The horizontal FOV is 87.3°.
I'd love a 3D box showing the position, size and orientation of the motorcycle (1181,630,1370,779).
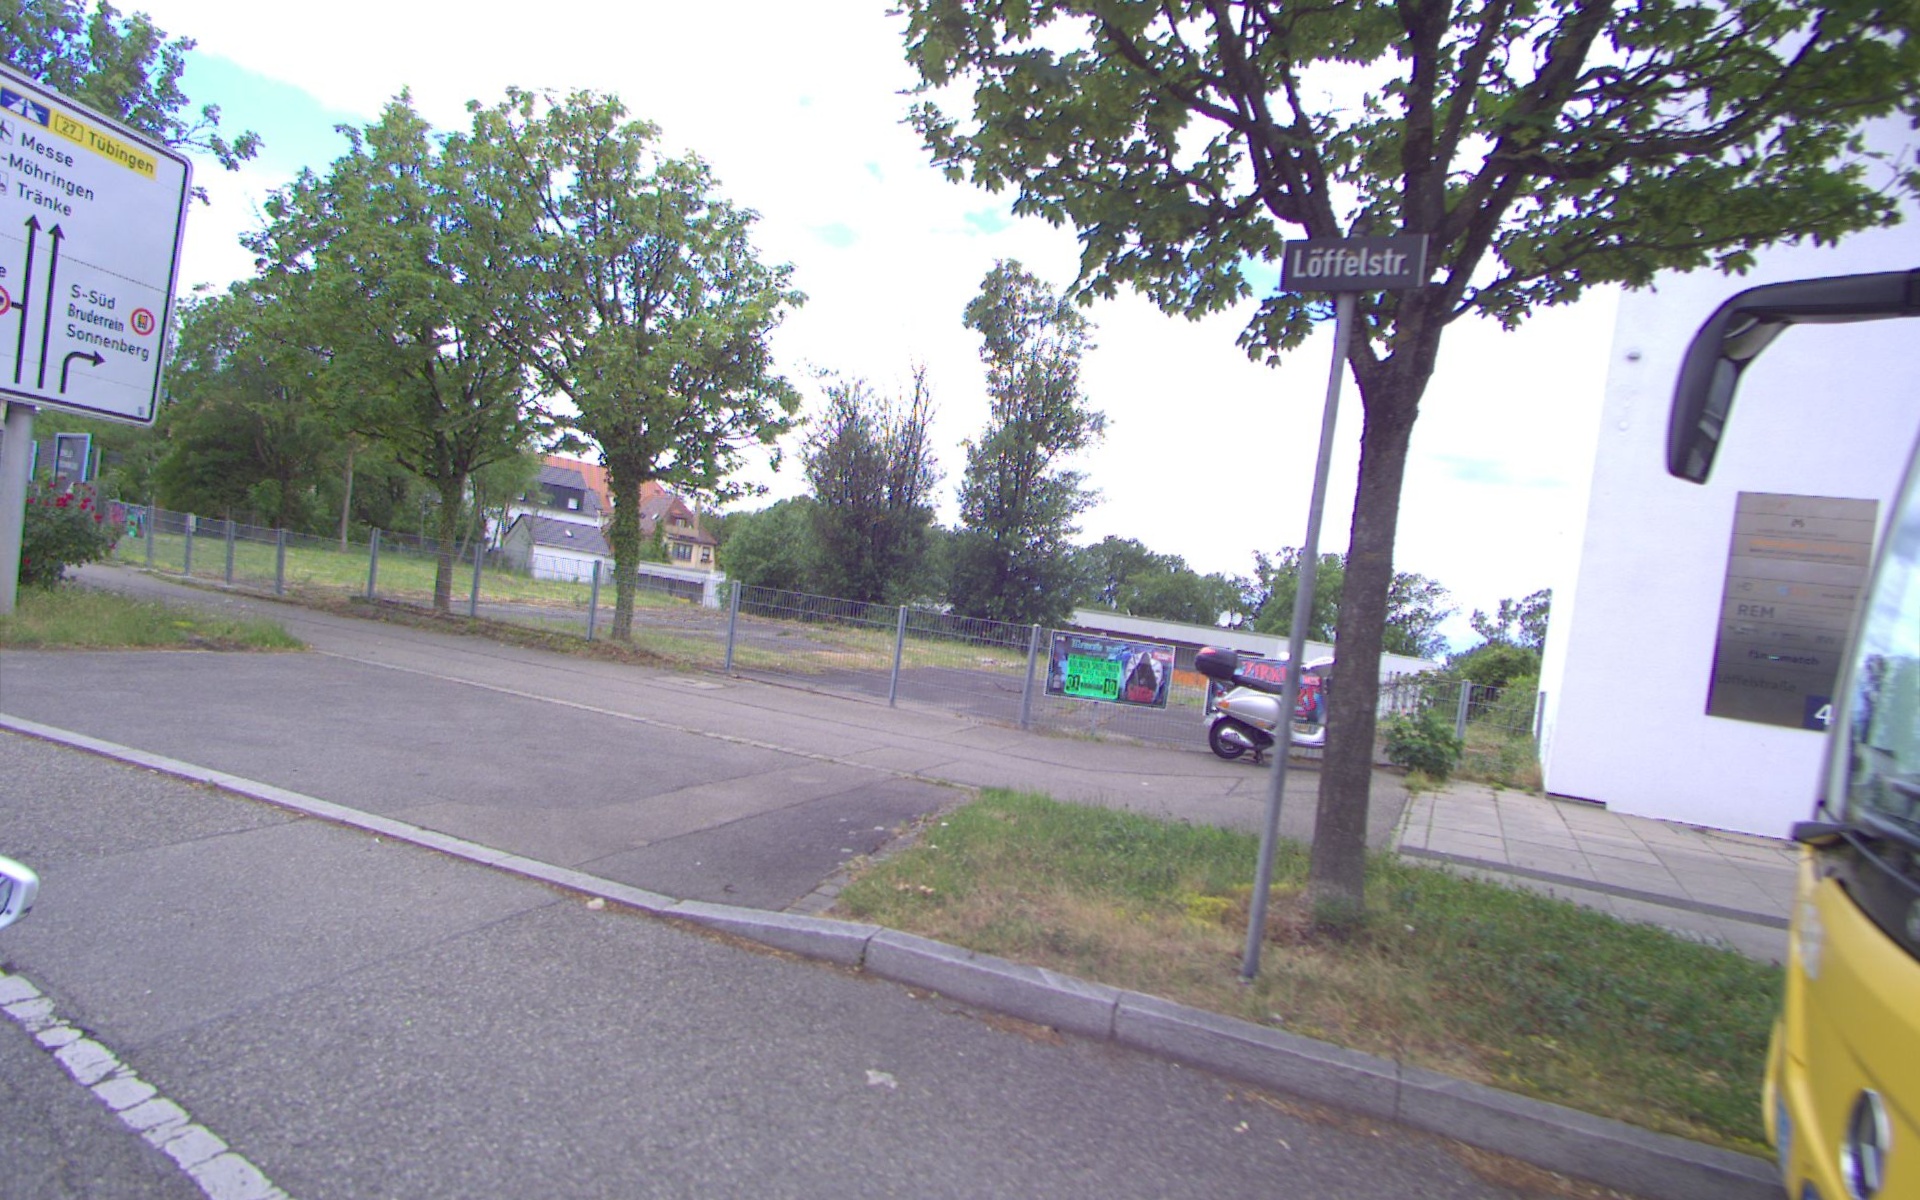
[{"bbox_3d":[3.085,1.013,9.919,1.553,1.237,0.584,7,1,-2],"label":"motorcycle"}]
